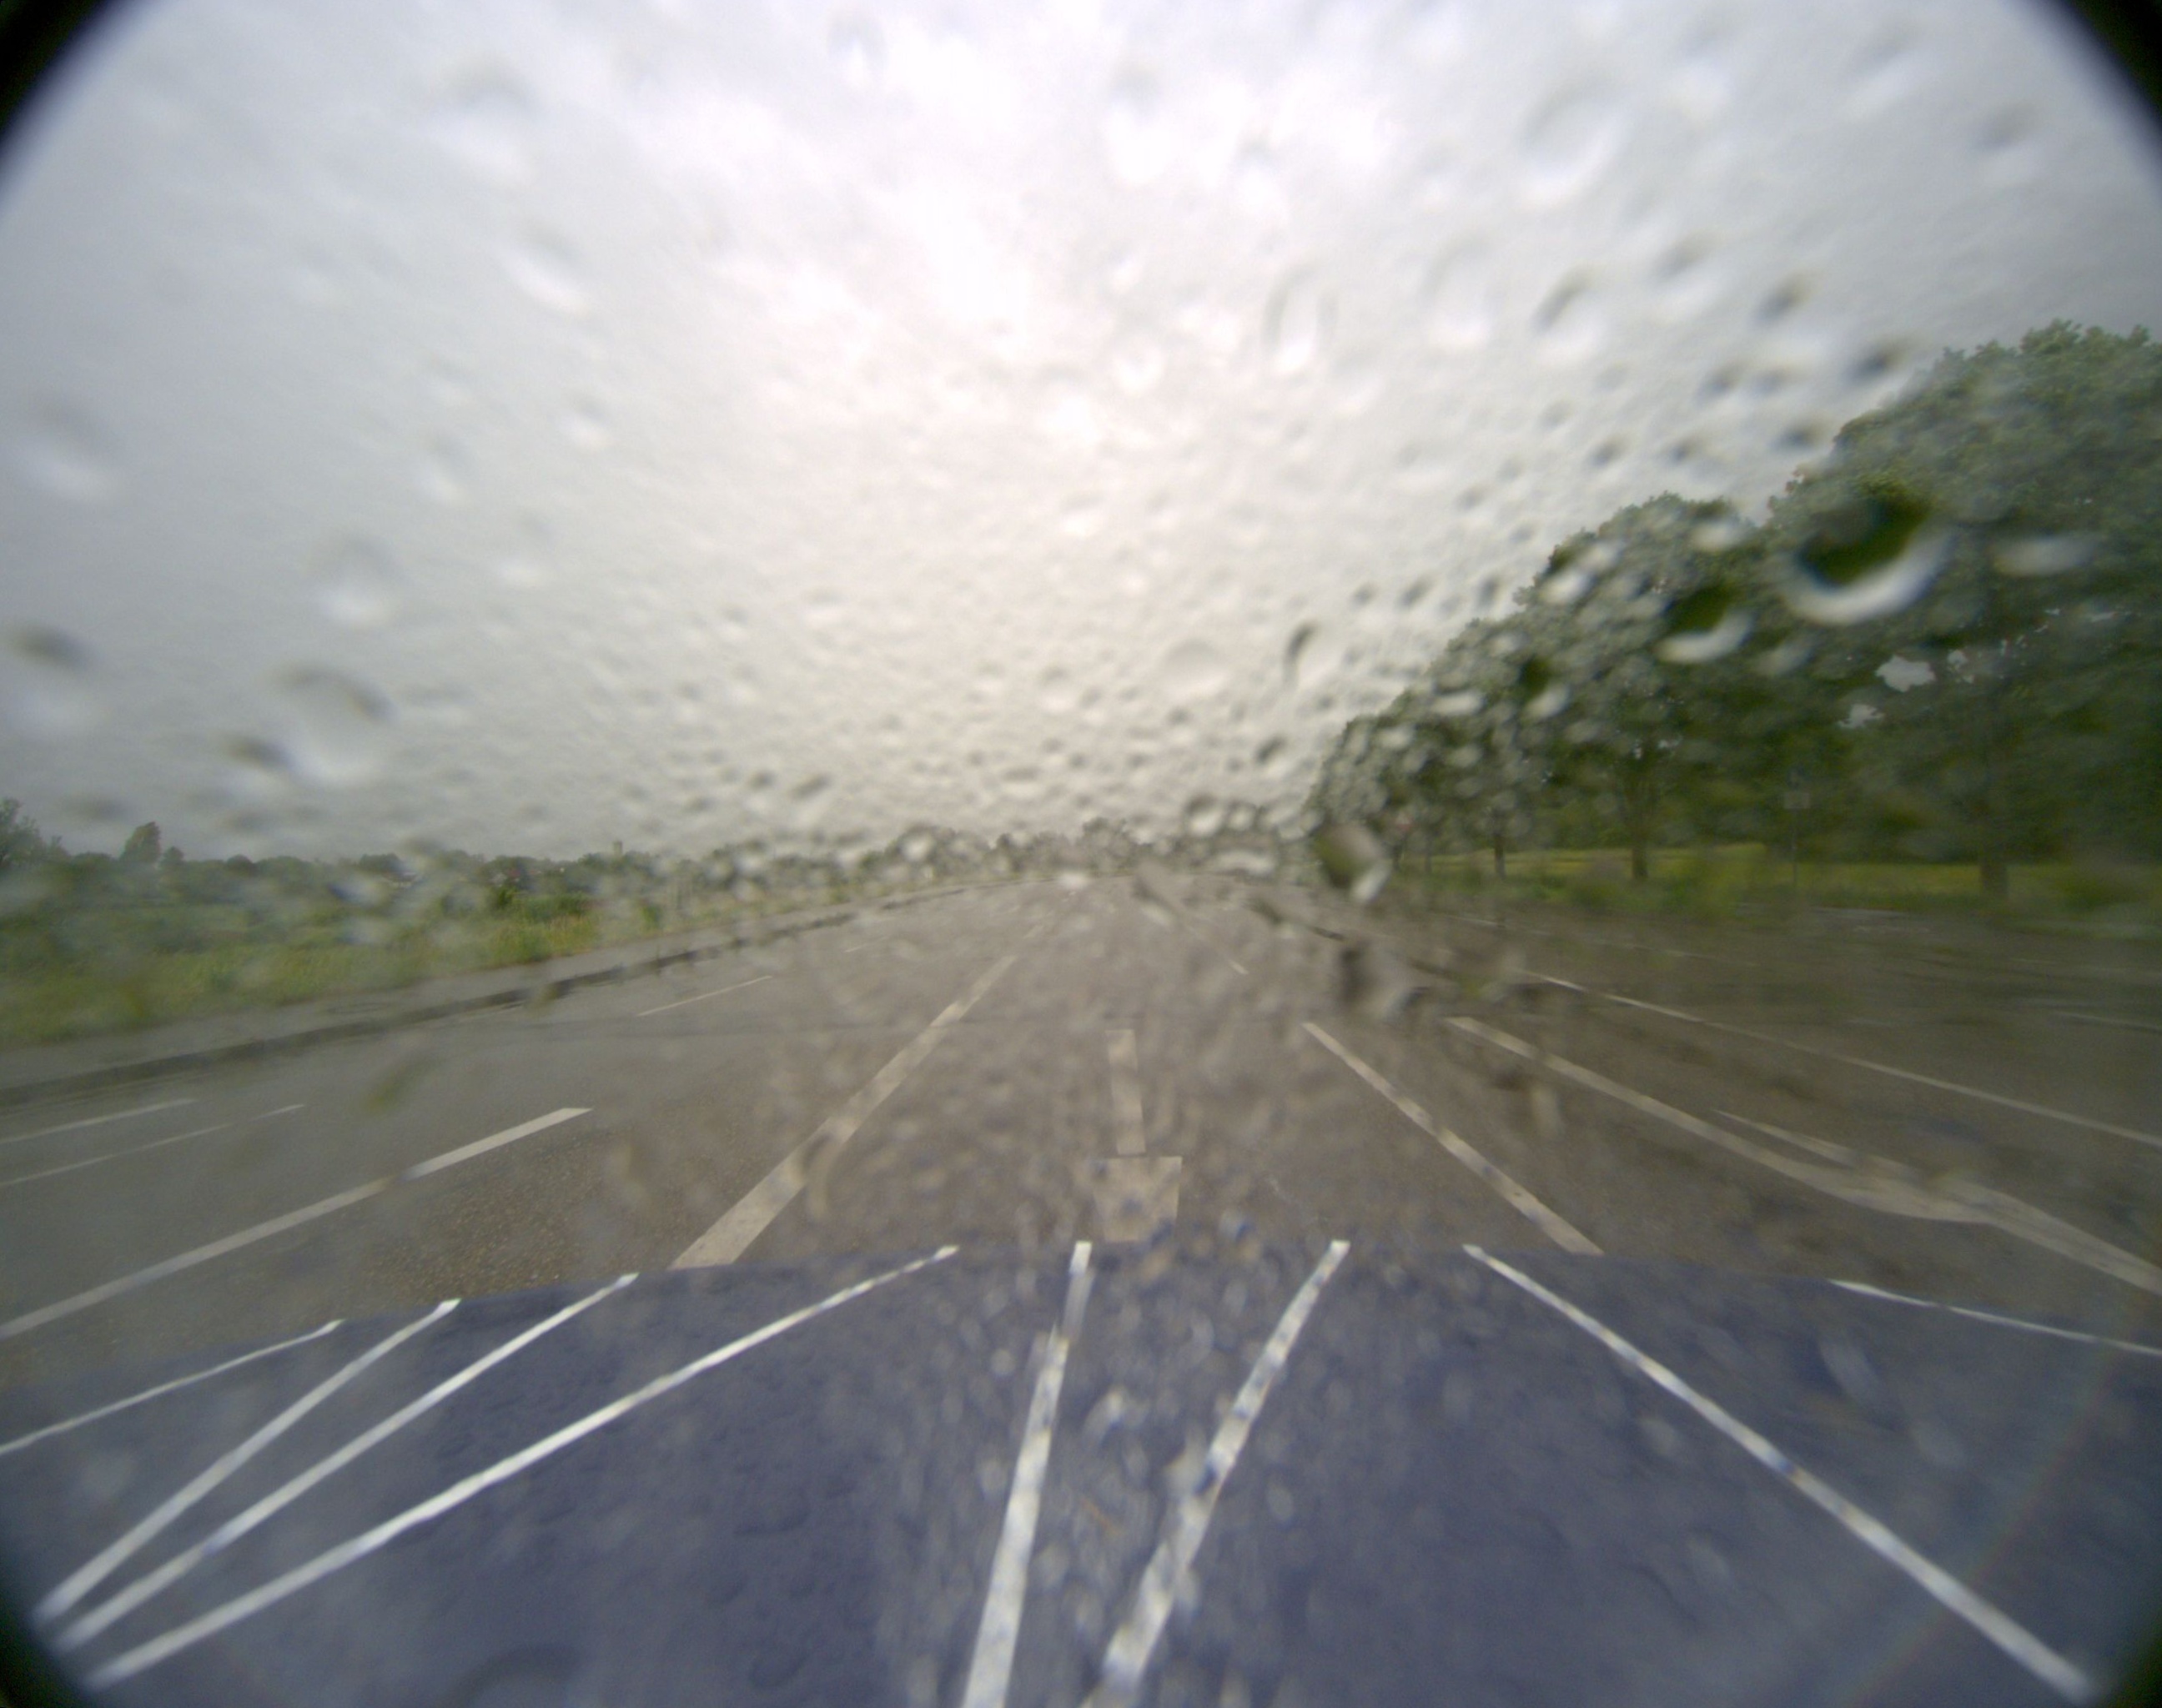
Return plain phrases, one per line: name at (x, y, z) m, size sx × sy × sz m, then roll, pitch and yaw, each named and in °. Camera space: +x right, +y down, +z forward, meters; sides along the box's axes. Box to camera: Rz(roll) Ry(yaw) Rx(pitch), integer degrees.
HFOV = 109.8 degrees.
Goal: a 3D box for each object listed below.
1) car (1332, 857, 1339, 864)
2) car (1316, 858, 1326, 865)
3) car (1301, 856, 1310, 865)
car at (70.782, 1.806, 211.501) m, size 1.887 × 1.578 × 4.124 m, roll -3°, pitch 0°, yaw 18°
car at (54.049, 1.671, 171.168) m, size 1.881 × 1.564 × 4.651 m, roll 0°, pitch 0°, yaw 20°
car at (52.114, 1.449, 176.606) m, size 1.741 × 1.979 × 4.015 m, roll 0°, pitch 0°, yaw 13°
